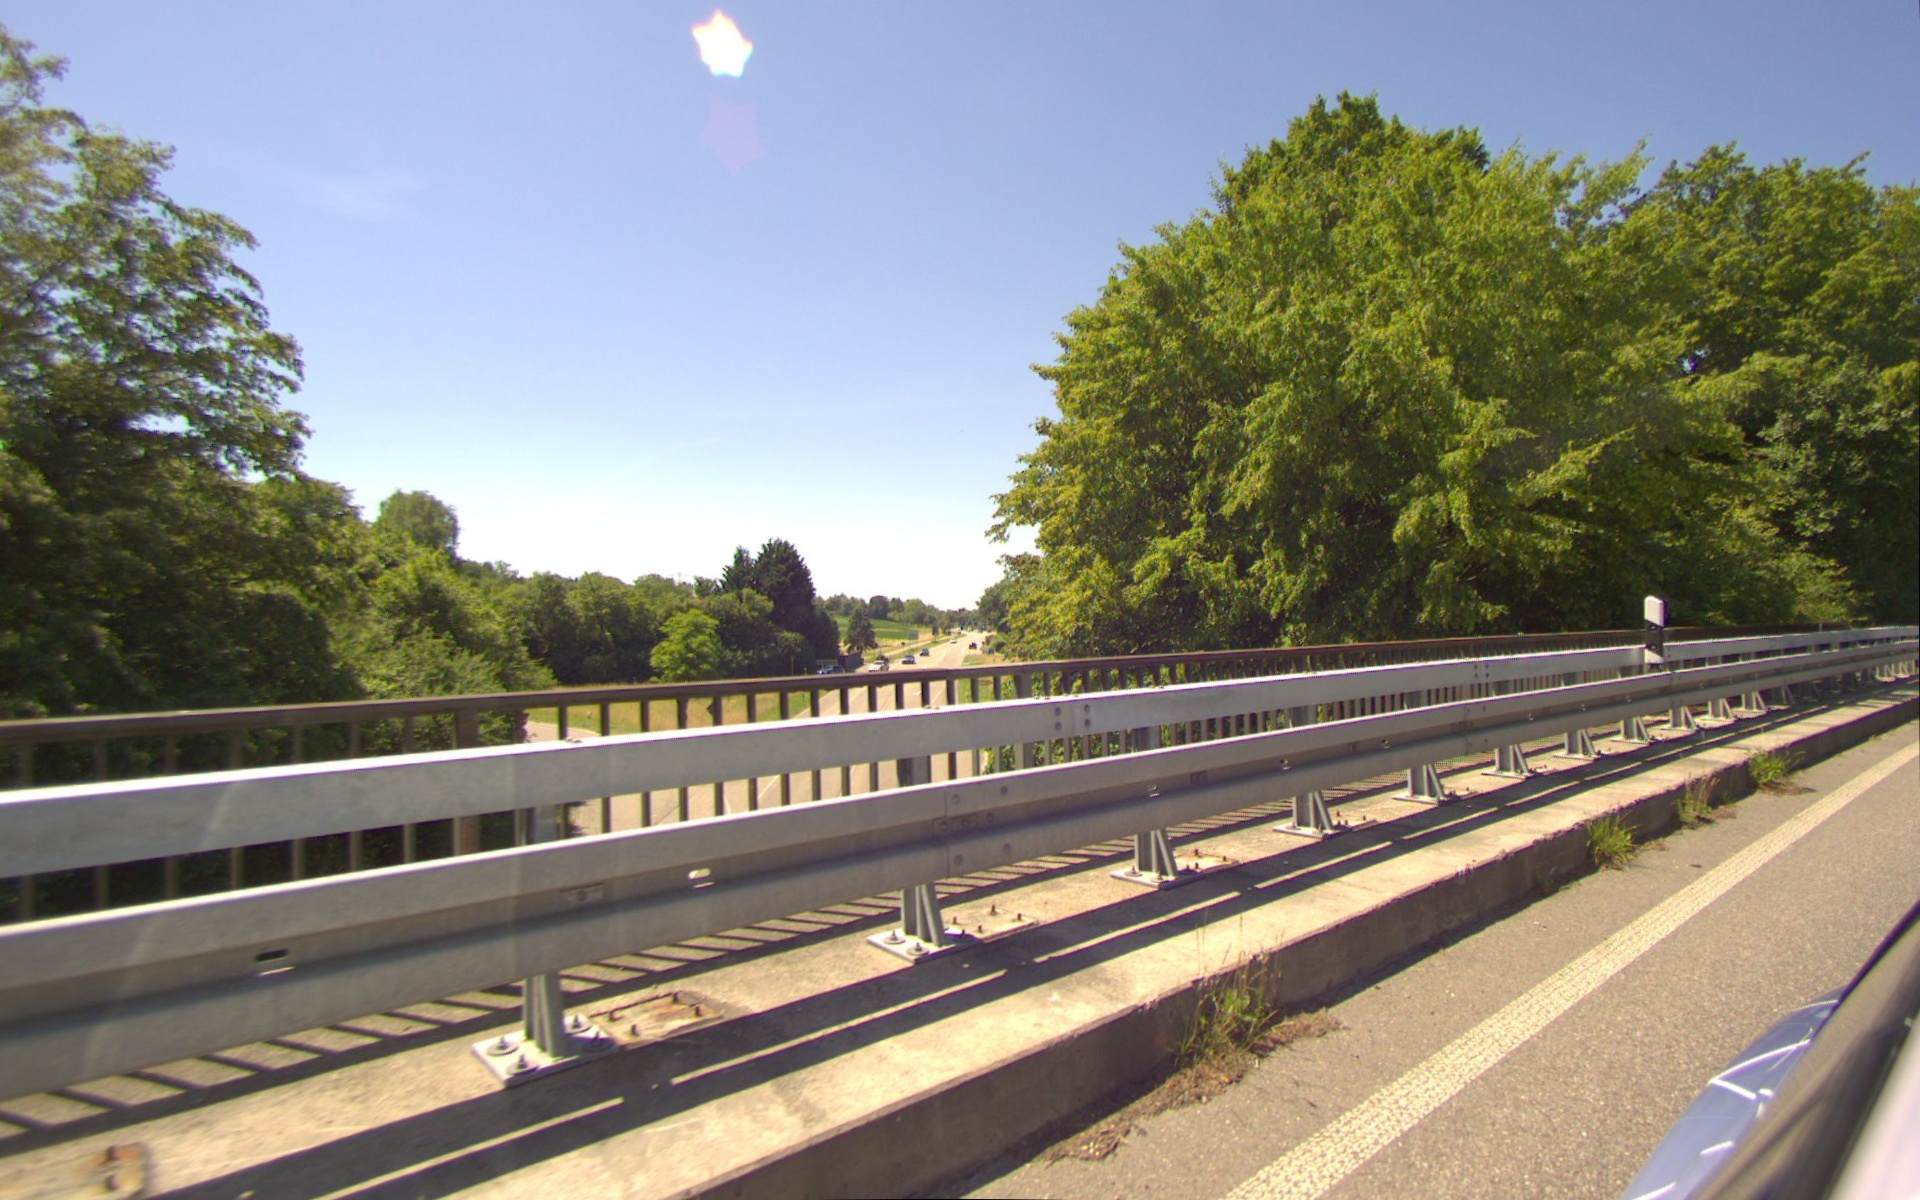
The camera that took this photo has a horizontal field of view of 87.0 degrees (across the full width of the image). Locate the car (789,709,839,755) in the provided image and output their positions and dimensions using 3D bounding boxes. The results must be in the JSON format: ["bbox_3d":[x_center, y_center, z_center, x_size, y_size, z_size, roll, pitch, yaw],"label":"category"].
[{"bbox_3d":[-8.372,7.474,57.719,1.958,2.039,4.007,-2,0,-20],"label":"car"}]
